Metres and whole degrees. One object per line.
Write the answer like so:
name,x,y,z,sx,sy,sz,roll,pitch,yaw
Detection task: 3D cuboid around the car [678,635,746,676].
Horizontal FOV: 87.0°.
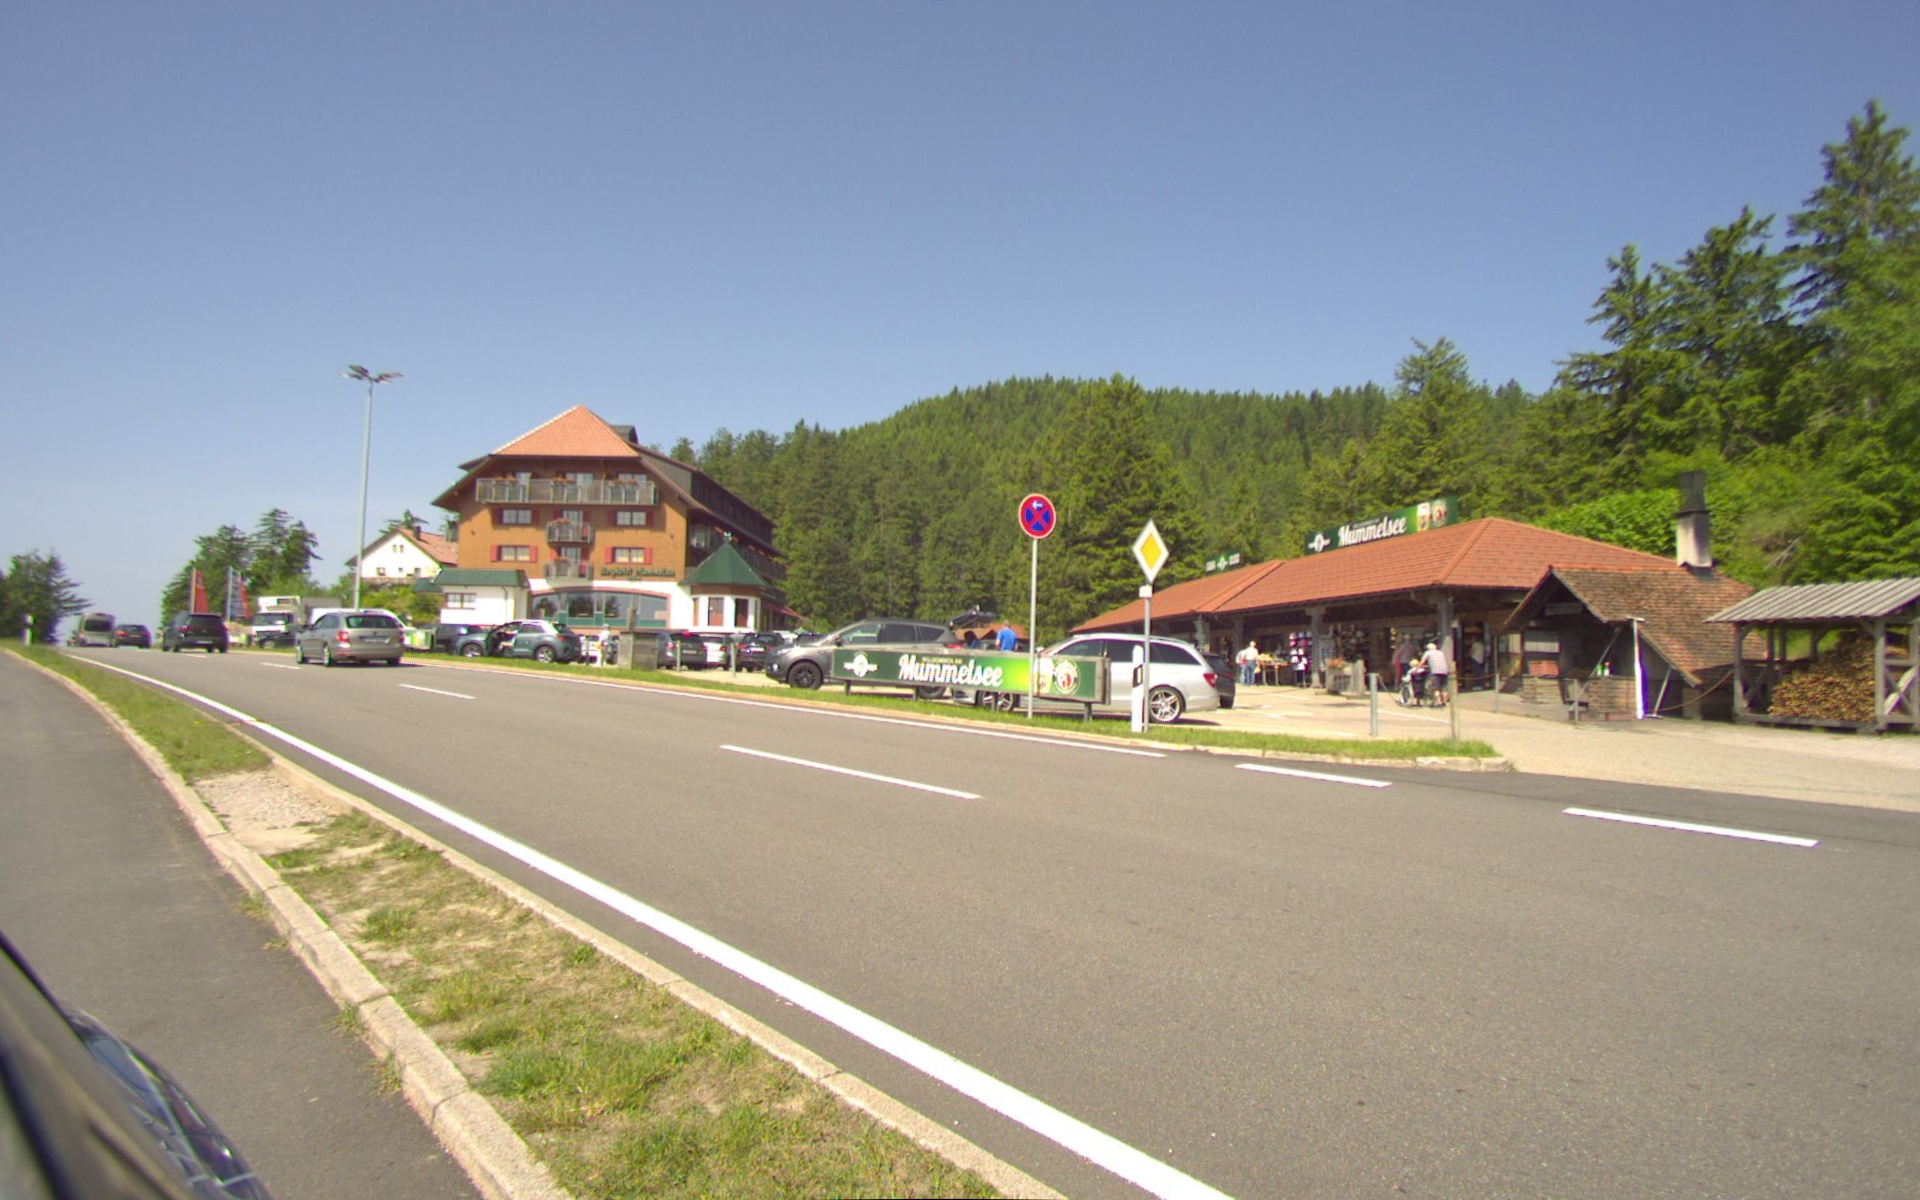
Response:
car,-10.076,2.240,41.434,1.798,1.524,4.095,2,-3,-1

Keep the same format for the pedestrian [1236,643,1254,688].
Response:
pedestrian,10.691,2.446,37.958,0.499,1.668,0.472,1,-2,-11

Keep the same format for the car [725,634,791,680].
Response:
car,-7.825,2.193,39.570,1.798,1.641,4.095,2,-3,-1

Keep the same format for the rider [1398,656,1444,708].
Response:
rider,11.948,2.107,26.263,0.829,1.284,0.907,1,-2,7

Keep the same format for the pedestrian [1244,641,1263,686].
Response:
pedestrian,10.851,2.344,37.441,0.499,1.668,0.472,1,-2,-11

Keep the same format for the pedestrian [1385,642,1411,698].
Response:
pedestrian,13.802,2.198,31.888,0.555,1.750,0.663,-1,-3,42

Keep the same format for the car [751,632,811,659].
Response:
car,-12.898,3.293,73.190,4.035,1.729,1.921,2,-3,-2

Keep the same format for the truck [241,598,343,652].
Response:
truck,-50.017,1.920,76.124,2.838,3.850,9.033,0,-2,-9

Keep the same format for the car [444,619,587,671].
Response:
car,-15.579,1.570,35.656,4.208,1.641,1.825,2,-3,-3

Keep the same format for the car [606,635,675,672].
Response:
car,-14.406,2.401,45.854,1.798,1.524,4.095,2,-3,-1

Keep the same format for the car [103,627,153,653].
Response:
car,-49.872,2.374,60.649,4.449,1.449,1.687,-1,-3,43

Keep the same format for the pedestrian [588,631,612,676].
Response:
pedestrian,-13.638,2.022,38.352,0.733,1.637,0.685,2,-3,-16

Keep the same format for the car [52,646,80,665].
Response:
car,-87.575,5.404,99.129,4.132,1.695,1.697,-1,-3,44

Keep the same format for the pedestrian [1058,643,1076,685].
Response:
pedestrian,5.161,3.081,48.900,0.682,2.029,0.753,1,-2,-6

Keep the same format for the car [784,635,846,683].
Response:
car,-5.422,2.212,38.334,1.798,1.641,4.095,2,-3,-1

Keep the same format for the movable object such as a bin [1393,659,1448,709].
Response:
movable object such as a bin,11.967,2.168,26.355,0.972,1.198,1.214,1,-2,7

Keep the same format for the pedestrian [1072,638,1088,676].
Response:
pedestrian,6.455,3.075,54.593,0.682,2.029,0.753,1,-2,-6

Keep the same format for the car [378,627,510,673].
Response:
car,-20.379,1.962,40.096,4.208,1.641,1.825,2,-3,-3

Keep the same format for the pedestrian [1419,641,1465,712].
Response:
pedestrian,12.047,1.897,25.310,0.829,1.712,0.801,1,-2,7

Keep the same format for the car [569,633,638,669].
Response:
car,-16.567,2.359,47.217,1.798,1.524,4.095,2,-3,-1

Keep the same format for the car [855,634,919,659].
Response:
car,-5.616,3.622,78.396,4.776,1.729,1.921,2,-3,-2

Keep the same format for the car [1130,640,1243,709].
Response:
car,5.900,1.901,26.845,1.972,1.541,4.000,3,-2,0

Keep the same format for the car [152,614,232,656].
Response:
car,-32.437,1.460,42.718,4.569,1.660,1.971,-1,-3,44

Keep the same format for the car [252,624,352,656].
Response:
car,-35.119,2.144,54.110,4.031,1.539,1.827,2,-3,-7

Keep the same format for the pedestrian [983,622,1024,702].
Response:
pedestrian,0.925,1.322,21.701,0.735,1.648,0.848,2,-2,-6

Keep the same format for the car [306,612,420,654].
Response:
car,-43.000,2.385,73.217,6.845,2.812,2.675,3,-3,-27

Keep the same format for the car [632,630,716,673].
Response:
car,-10.596,1.877,37.338,1.693,1.441,4.009,4,-3,-36

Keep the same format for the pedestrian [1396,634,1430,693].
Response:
pedestrian,13.879,1.929,31.031,0.740,1.750,0.801,1,-2,7

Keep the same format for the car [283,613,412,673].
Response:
car,-16.713,1.100,27.514,4.715,1.485,1.858,-1,-2,44

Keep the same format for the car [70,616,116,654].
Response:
car,-65.426,2.627,76.336,5.919,2.772,1.988,-1,-3,44

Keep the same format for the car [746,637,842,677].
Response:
car,-7.427,2.546,45.615,4.034,1.641,1.825,2,-3,-3

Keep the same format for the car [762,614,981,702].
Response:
car,-1.887,1.240,21.860,4.483,1.668,1.724,2,-3,-4

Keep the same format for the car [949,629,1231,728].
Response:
car,2.085,1.294,17.078,4.436,1.441,1.723,2,-3,-2

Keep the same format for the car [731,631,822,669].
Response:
car,-8.745,2.367,48.386,4.034,1.641,1.825,2,-3,-3
